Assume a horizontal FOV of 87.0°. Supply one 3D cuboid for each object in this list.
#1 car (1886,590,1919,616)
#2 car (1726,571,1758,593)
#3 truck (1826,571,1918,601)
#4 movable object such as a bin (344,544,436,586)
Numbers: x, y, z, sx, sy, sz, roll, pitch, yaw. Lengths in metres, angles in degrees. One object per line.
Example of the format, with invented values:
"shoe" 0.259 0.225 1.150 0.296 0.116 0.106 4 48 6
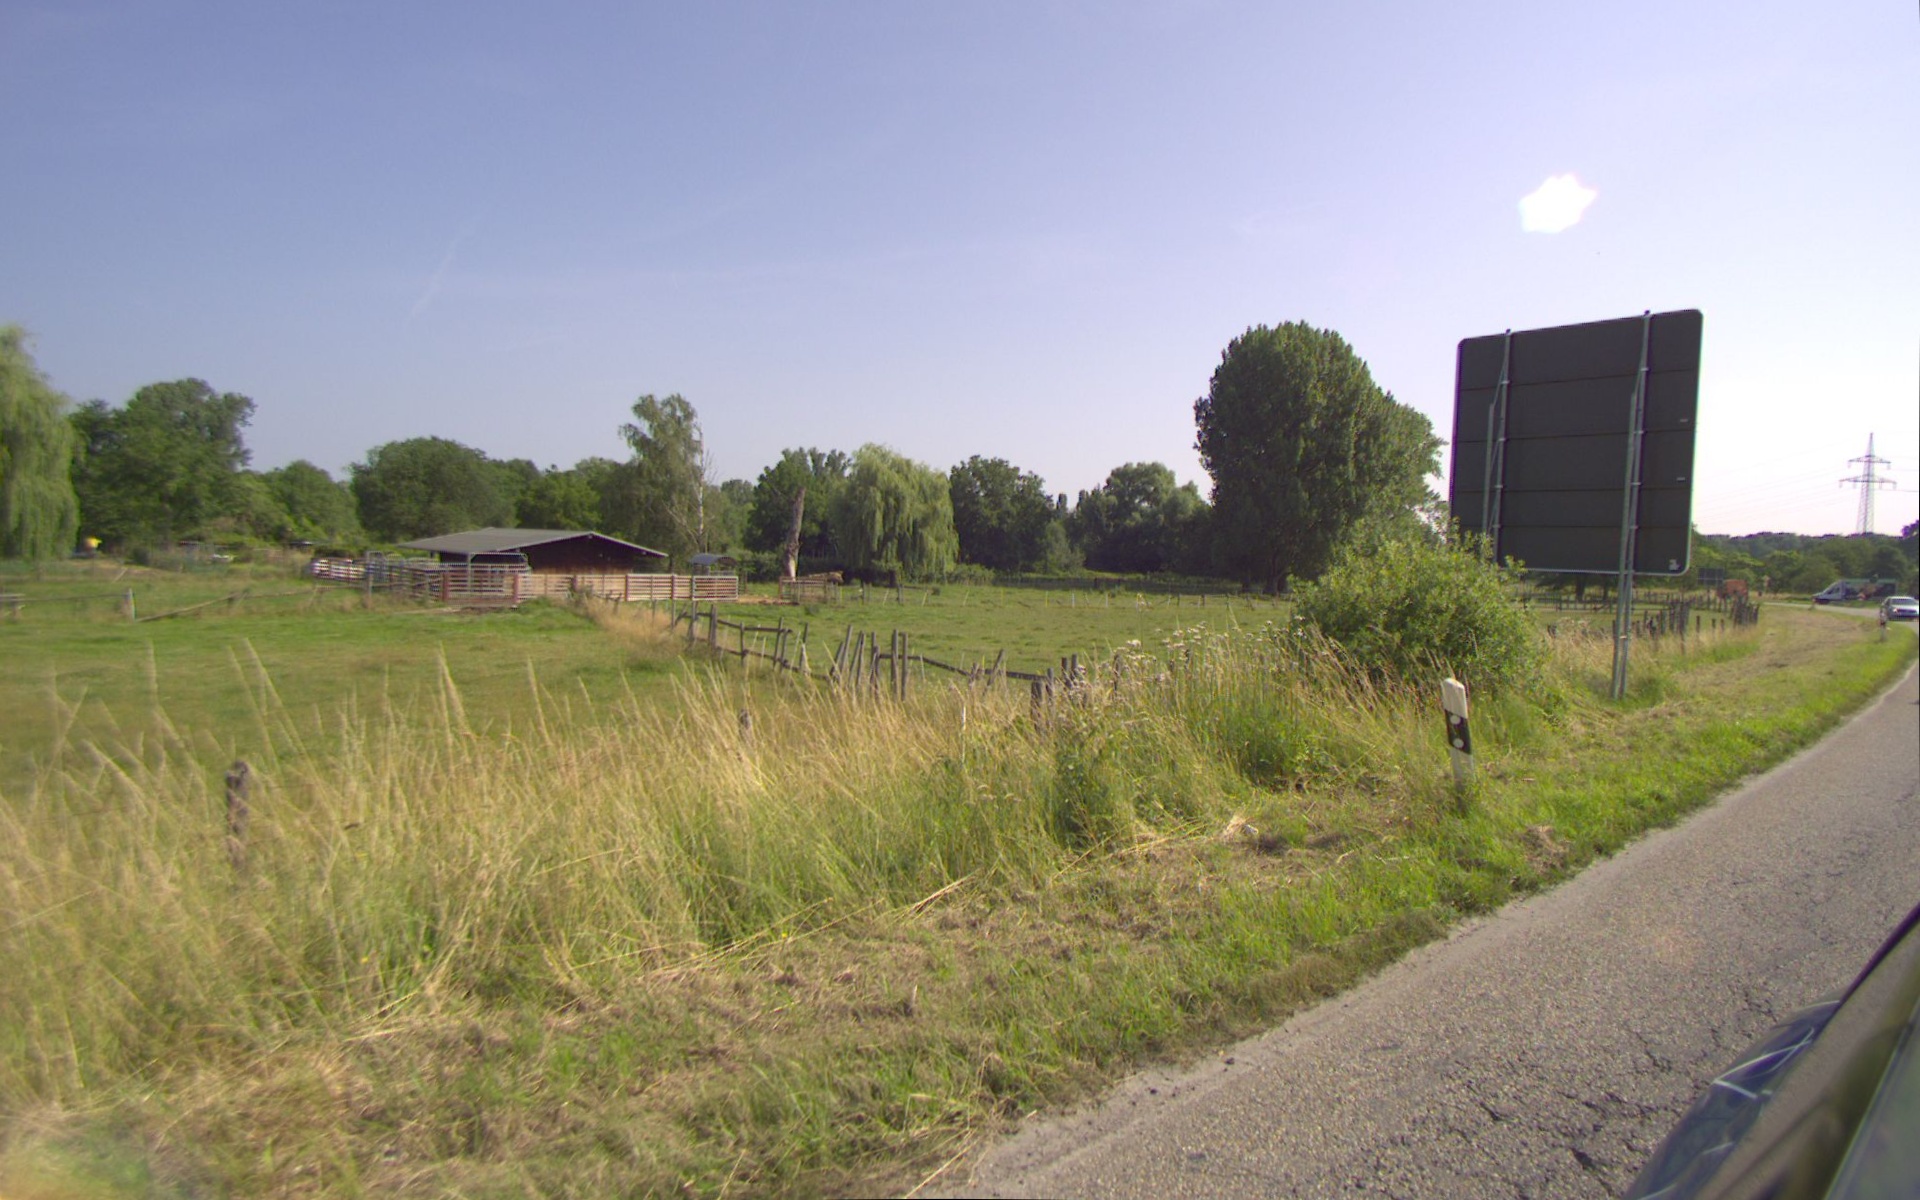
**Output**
"car" 62.961 0.176 66.976 1.988 1.599 3.859 2 2 36
"car" 98.583 -2.299 127.633 2.110 2.729 5.220 2 2 26
"truck" 100.181 -1.586 111.305 7.331 3.083 2.547 2 2 40
"movable object such as a bin" -31.787 -1.925 56.498 4.095 2.221 1.995 0 0 -44
